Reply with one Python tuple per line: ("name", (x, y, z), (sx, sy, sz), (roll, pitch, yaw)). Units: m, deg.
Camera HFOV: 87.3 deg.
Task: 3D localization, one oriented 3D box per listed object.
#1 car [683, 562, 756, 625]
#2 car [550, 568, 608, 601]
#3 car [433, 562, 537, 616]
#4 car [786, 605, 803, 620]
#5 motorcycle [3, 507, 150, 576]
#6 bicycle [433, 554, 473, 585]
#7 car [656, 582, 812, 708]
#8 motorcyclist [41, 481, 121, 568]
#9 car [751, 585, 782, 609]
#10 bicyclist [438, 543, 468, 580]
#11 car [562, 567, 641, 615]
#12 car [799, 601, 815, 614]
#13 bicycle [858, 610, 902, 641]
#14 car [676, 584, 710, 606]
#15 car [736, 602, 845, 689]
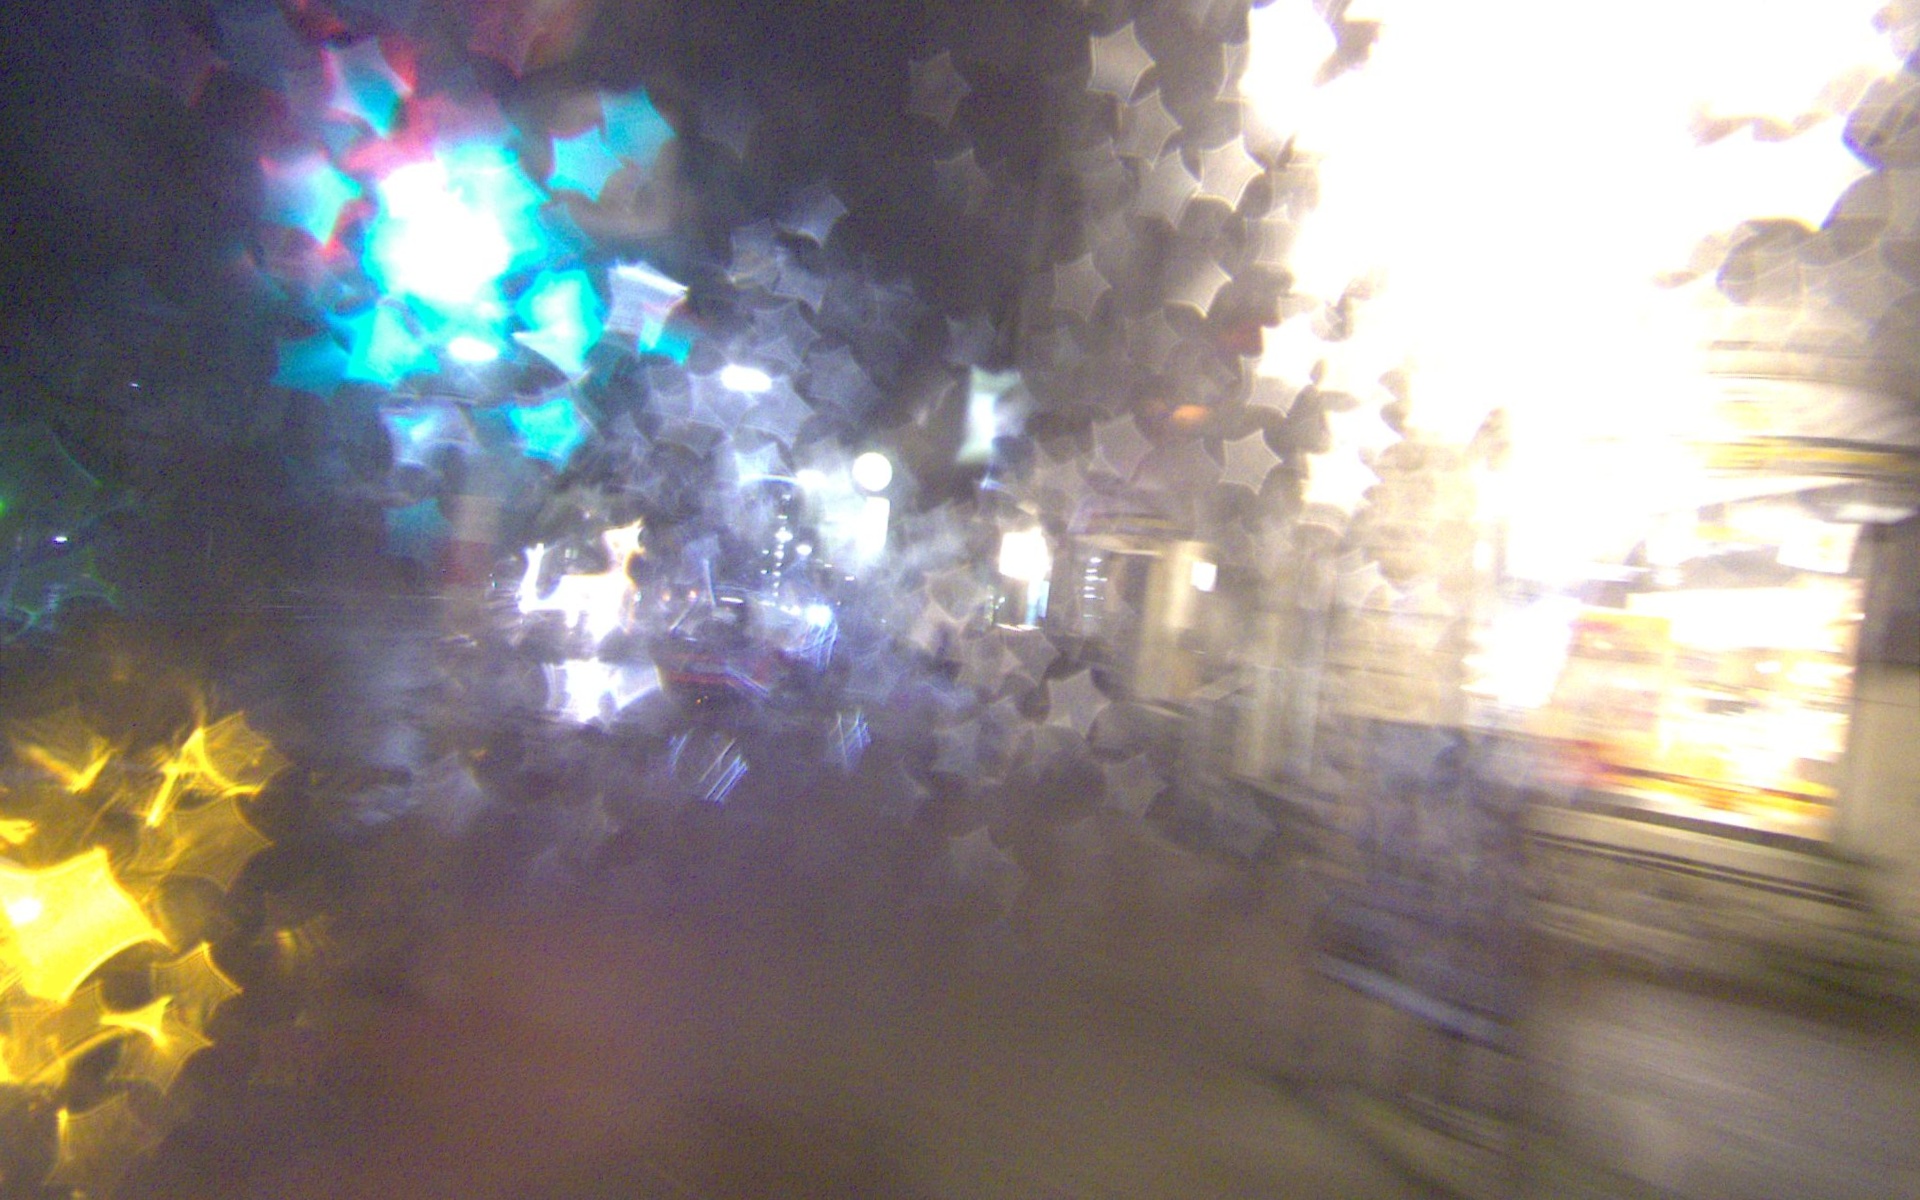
("car", (-11.131, -0.237, 47.054), (2.185, 2.470, 5.382), (8, -1, -4))
("car", (-20.966, -0.825, 55.508), (1.741, 1.422, 4.140), (9, -1, -4))
("car", (-20.583, -0.447, 43.868), (1.965, 1.847, 5.306), (10, 0, -3))
("car", (-18.809, 1.393, 114.314), (1.627, 1.497, 4.201), (6, -1, -7))
("motorcycle", (-19.532, -1.265, 22.325), (0.697, 1.245, 2.326), (5, -2, 20))
("bicycle", (-22.620, -1.357, 44.959), (0.644, 1.154, 1.899), (9, -2, 1))
("car", (-3.196, 0.609, 14.885), (1.622, 1.544, 3.579), (3, -1, -3))
("motorcyclist", (-19.498, -1.662, 22.332), (0.697, 1.752, 1.029), (5, -1, 20))
("car", (-17.538, -0.259, 91.253), (1.896, 1.903, 4.636), (5, 0, -2))
("bicyclist", (-22.570, -1.702, 44.770), (0.644, 1.481, 0.868), (9, -1, 1))
("car", (-16.700, -0.369, 47.076), (1.865, 1.891, 4.538), (6, -1, 1))
("car", (-25.477, 1.202, 167.413), (1.971, 1.805, 4.001), (9, -2, -3))
("bicycle", (-3.432, 1.082, 43.011), (1.786, 1.178, 0.492), (4, -1, -5))
("car", (-22.105, -0.416, 83.343), (1.644, 1.402, 4.002), (9, -2, -1))
("car", (-3.248, 0.839, 19.934), (1.620, 1.460, 4.054), (3, -1, -3))
